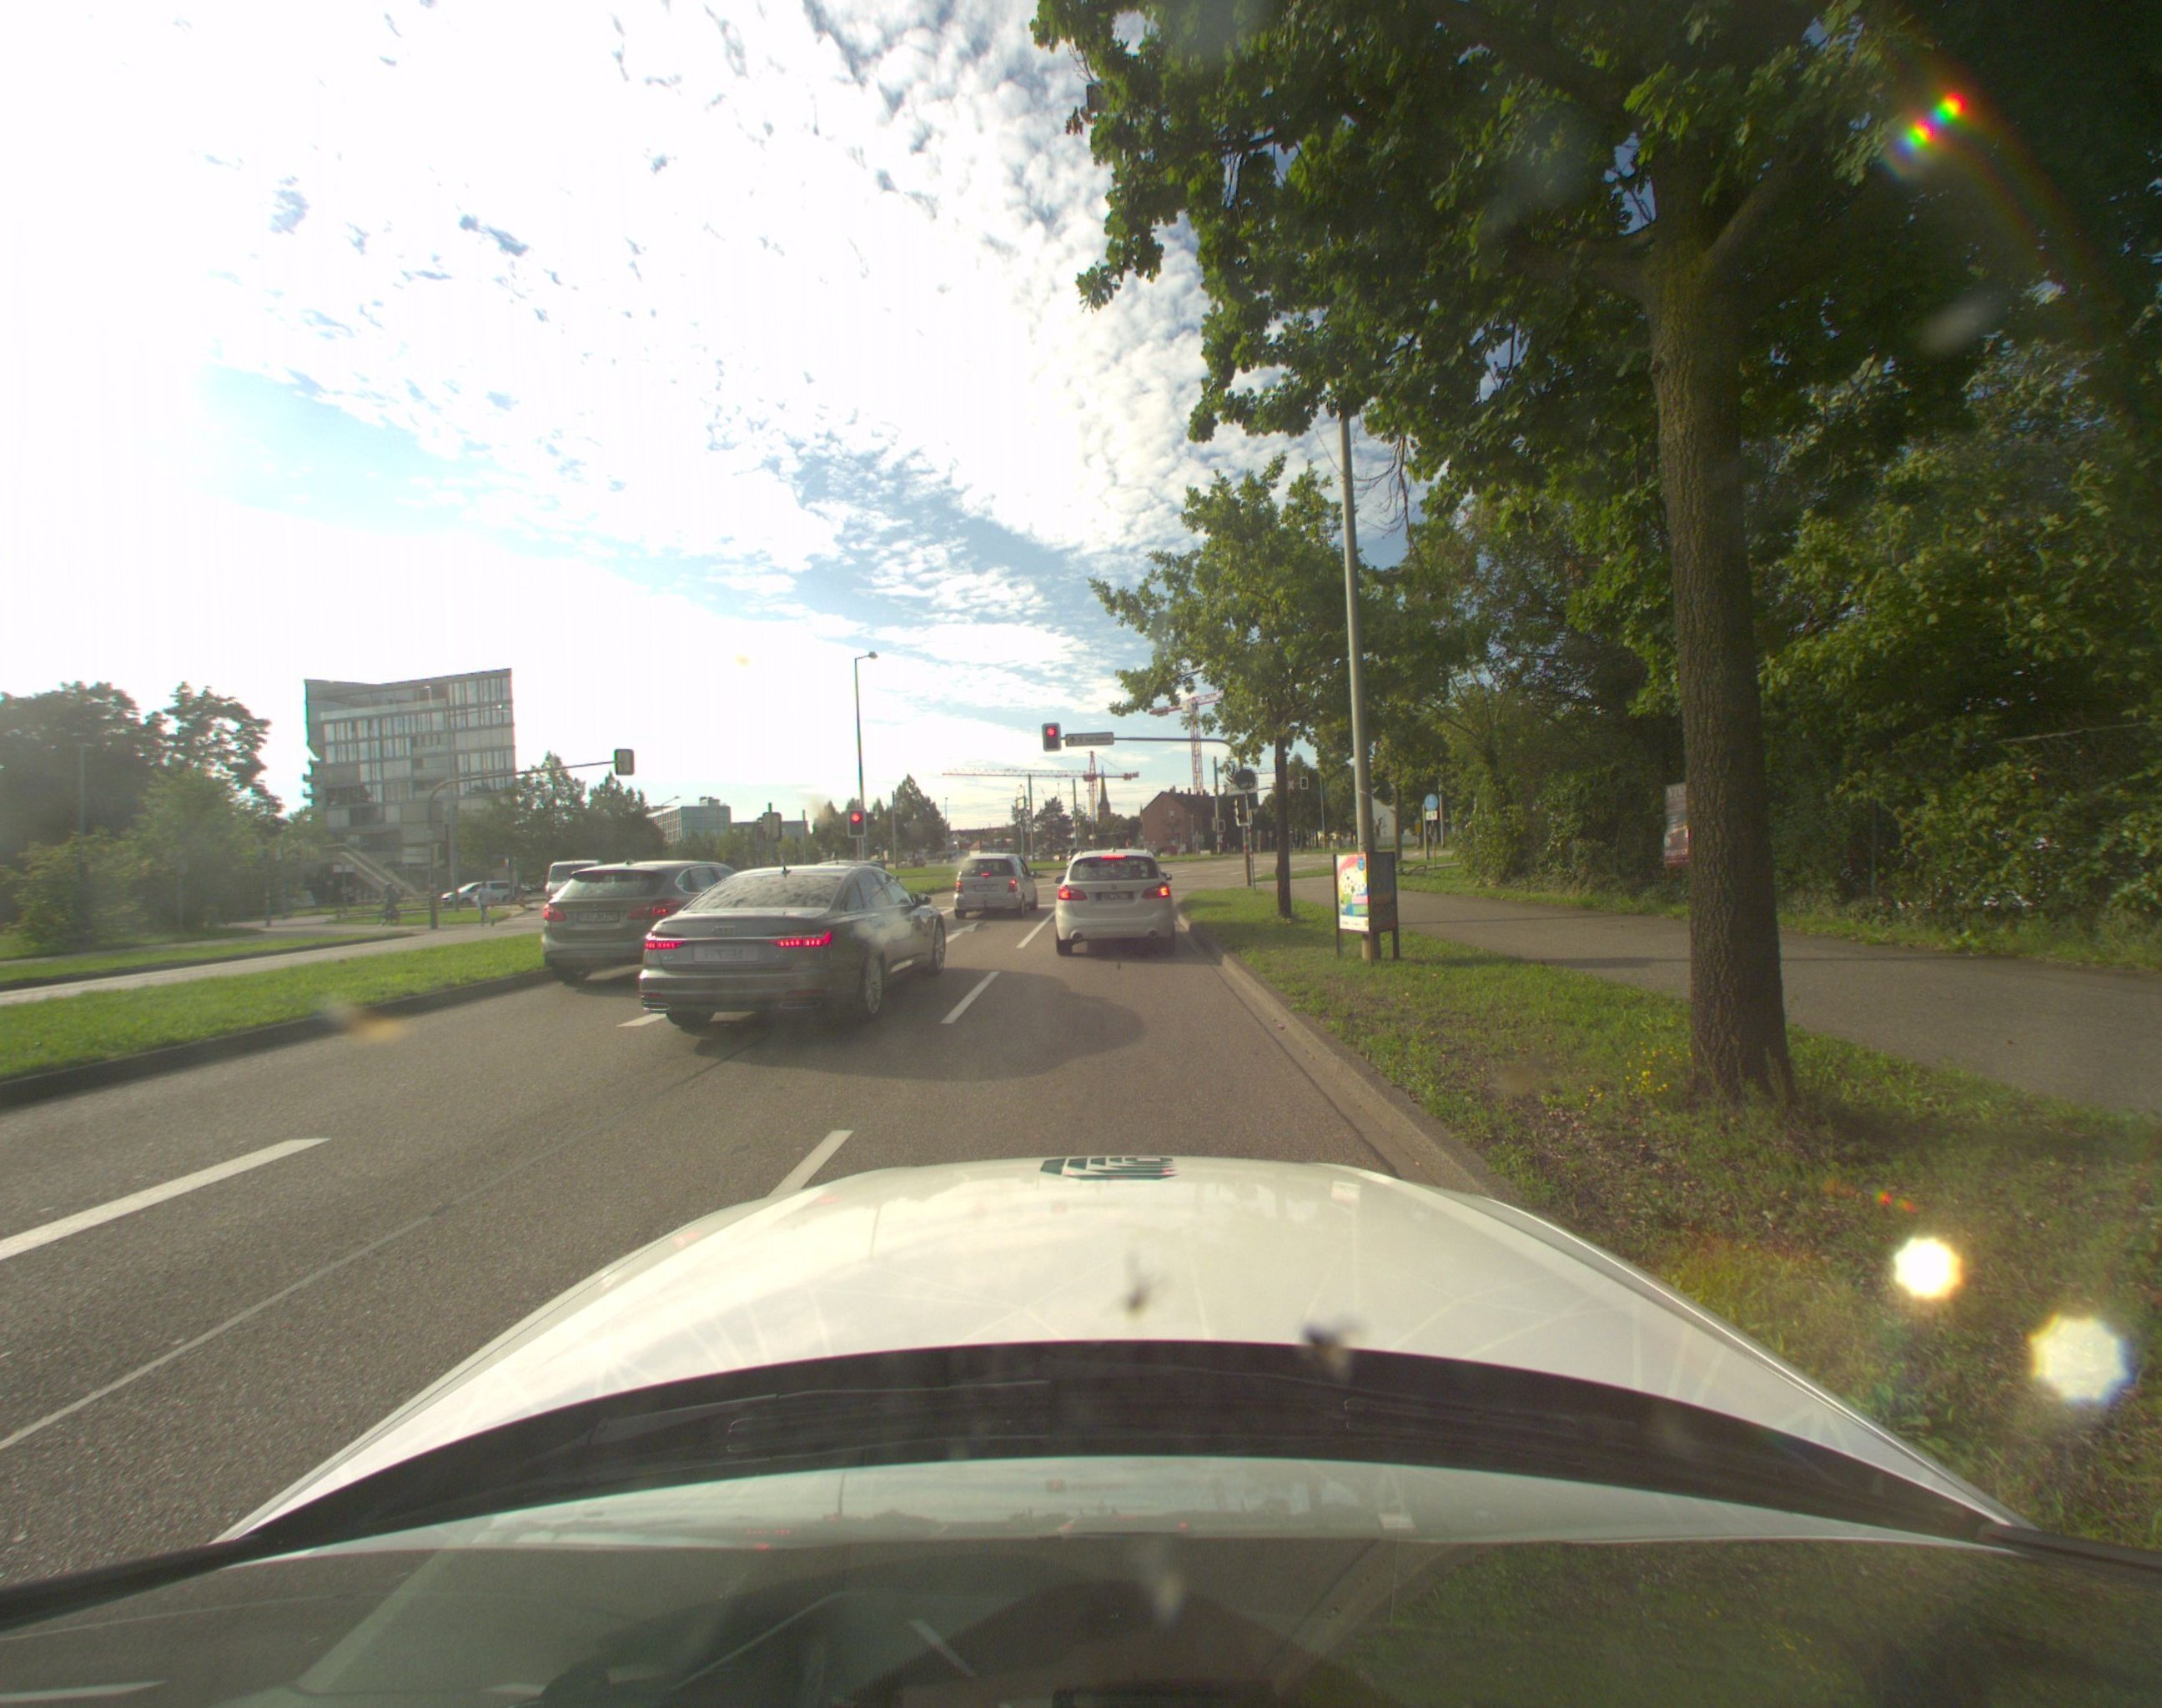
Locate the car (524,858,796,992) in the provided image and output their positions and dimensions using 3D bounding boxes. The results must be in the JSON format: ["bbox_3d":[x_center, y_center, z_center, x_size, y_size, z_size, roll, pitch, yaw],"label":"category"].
[{"bbox_3d":[-5.814,0.877,11.891,1.722,1.558,4.021,-2,0,2],"label":"car"}]

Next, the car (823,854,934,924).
[{"bbox_3d":[-5.078,0.808,20.974,1.714,1.564,3.880,-1,1,2],"label":"car"}]

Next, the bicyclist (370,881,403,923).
[{"bbox_3d":[-28.698,1.979,33.650,0.786,1.668,0.549,-3,-1,-3],"label":"bicyclist"}]

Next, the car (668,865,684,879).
[{"bbox_3d":[-48.490,2.179,97.535,1.600,1.415,3.638,-5,-1,-25],"label":"car"}]

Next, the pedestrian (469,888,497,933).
[{"bbox_3d":[-21.821,2.053,29.723,0.657,1.569,0.611,-3,-1,-22],"label":"pedestrian"}]

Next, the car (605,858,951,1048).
[{"bbox_3d":[-2.809,0.808,8.852,1.883,1.483,4.614,-2,0,2],"label":"car"}]

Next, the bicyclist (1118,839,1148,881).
[{"bbox_3d":[1.946,0.215,30.488,0.850,1.526,0.737,-3,0,-15],"label":"bicyclist"}]

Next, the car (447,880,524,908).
[{"bbox_3d":[-43.485,2.884,59.534,1.974,1.747,4.155,-3,0,42],"label":"car"}]

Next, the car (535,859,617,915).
[{"bbox_3d":[-22.995,1.469,37.328,2.001,2.235,5.882,-4,0,-21],"label":"car"}]

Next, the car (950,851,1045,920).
[{"bbox_3d":[-2.056,0.736,21.086,1.721,1.558,4.063,-1,0,4],"label":"car"}]

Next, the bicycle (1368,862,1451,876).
[{"bbox_3d":[10.688,0.479,26.653,1.407,0.385,2.568,-3,0,-9],"label":"bicycle"}]

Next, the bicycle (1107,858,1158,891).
[{"bbox_3d":[1.921,0.761,30.474,1.728,1.163,0.652,-3,-1,-15],"label":"bicycle"}]

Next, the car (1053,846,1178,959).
[{"bbox_3d":[0.549,0.679,13.542,1.723,1.558,4.059,-2,0,2],"label":"car"}]

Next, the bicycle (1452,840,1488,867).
[{"bbox_3d":[15.809,-0.013,33.075,1.787,1.050,0.702,-1,-1,-45],"label":"bicycle"}]

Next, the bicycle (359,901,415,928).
[{"bbox_3d":[-28.649,2.494,33.643,1.670,0.967,0.643,-3,-1,-4],"label":"bicycle"}]

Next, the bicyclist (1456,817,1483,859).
[{"bbox_3d":[15.802,-0.654,33.117,0.837,1.647,0.677,-1,-1,-45],"label":"bicyclist"}]

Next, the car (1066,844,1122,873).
[{"bbox_3d":[0.755,0.279,49.297,3.182,1.574,1.573,-3,1,-4],"label":"car"}]
